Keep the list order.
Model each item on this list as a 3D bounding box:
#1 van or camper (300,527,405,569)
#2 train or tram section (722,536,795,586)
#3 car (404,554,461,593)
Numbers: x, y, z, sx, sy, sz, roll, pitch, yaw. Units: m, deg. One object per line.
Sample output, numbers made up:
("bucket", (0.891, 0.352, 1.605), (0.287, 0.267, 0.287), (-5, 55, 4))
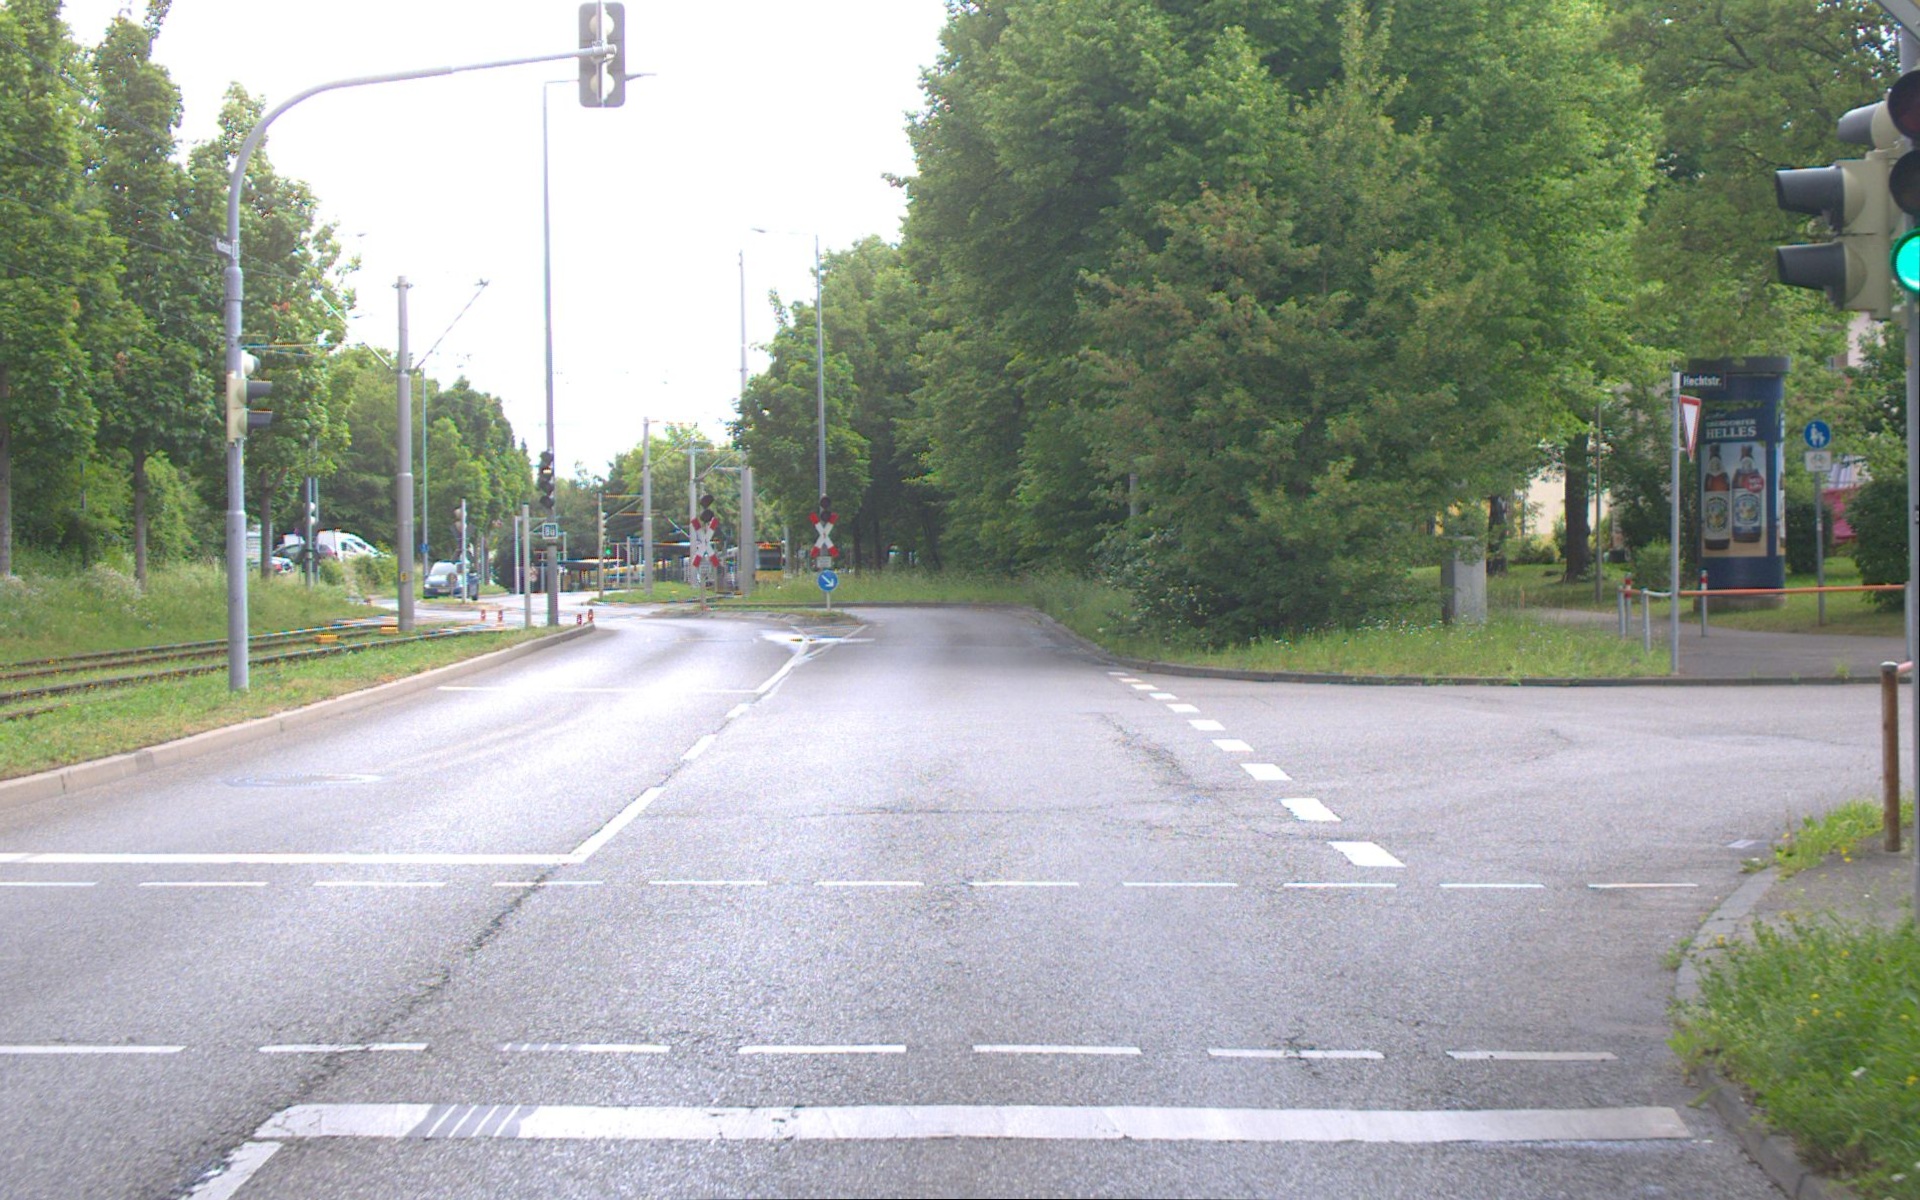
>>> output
("van or camper", (-32.635, -2.786, 184.801), (5.332, 2.195, 2.000), (0, 1, -4))
("train or tram section", (-14.530, -2.738, 245.216), (3.007, 3.299, 34.718), (0, 0, -7))
("car", (-21.583, -1.108, 140.727), (1.867, 1.515, 4.239), (0, 1, -3))
